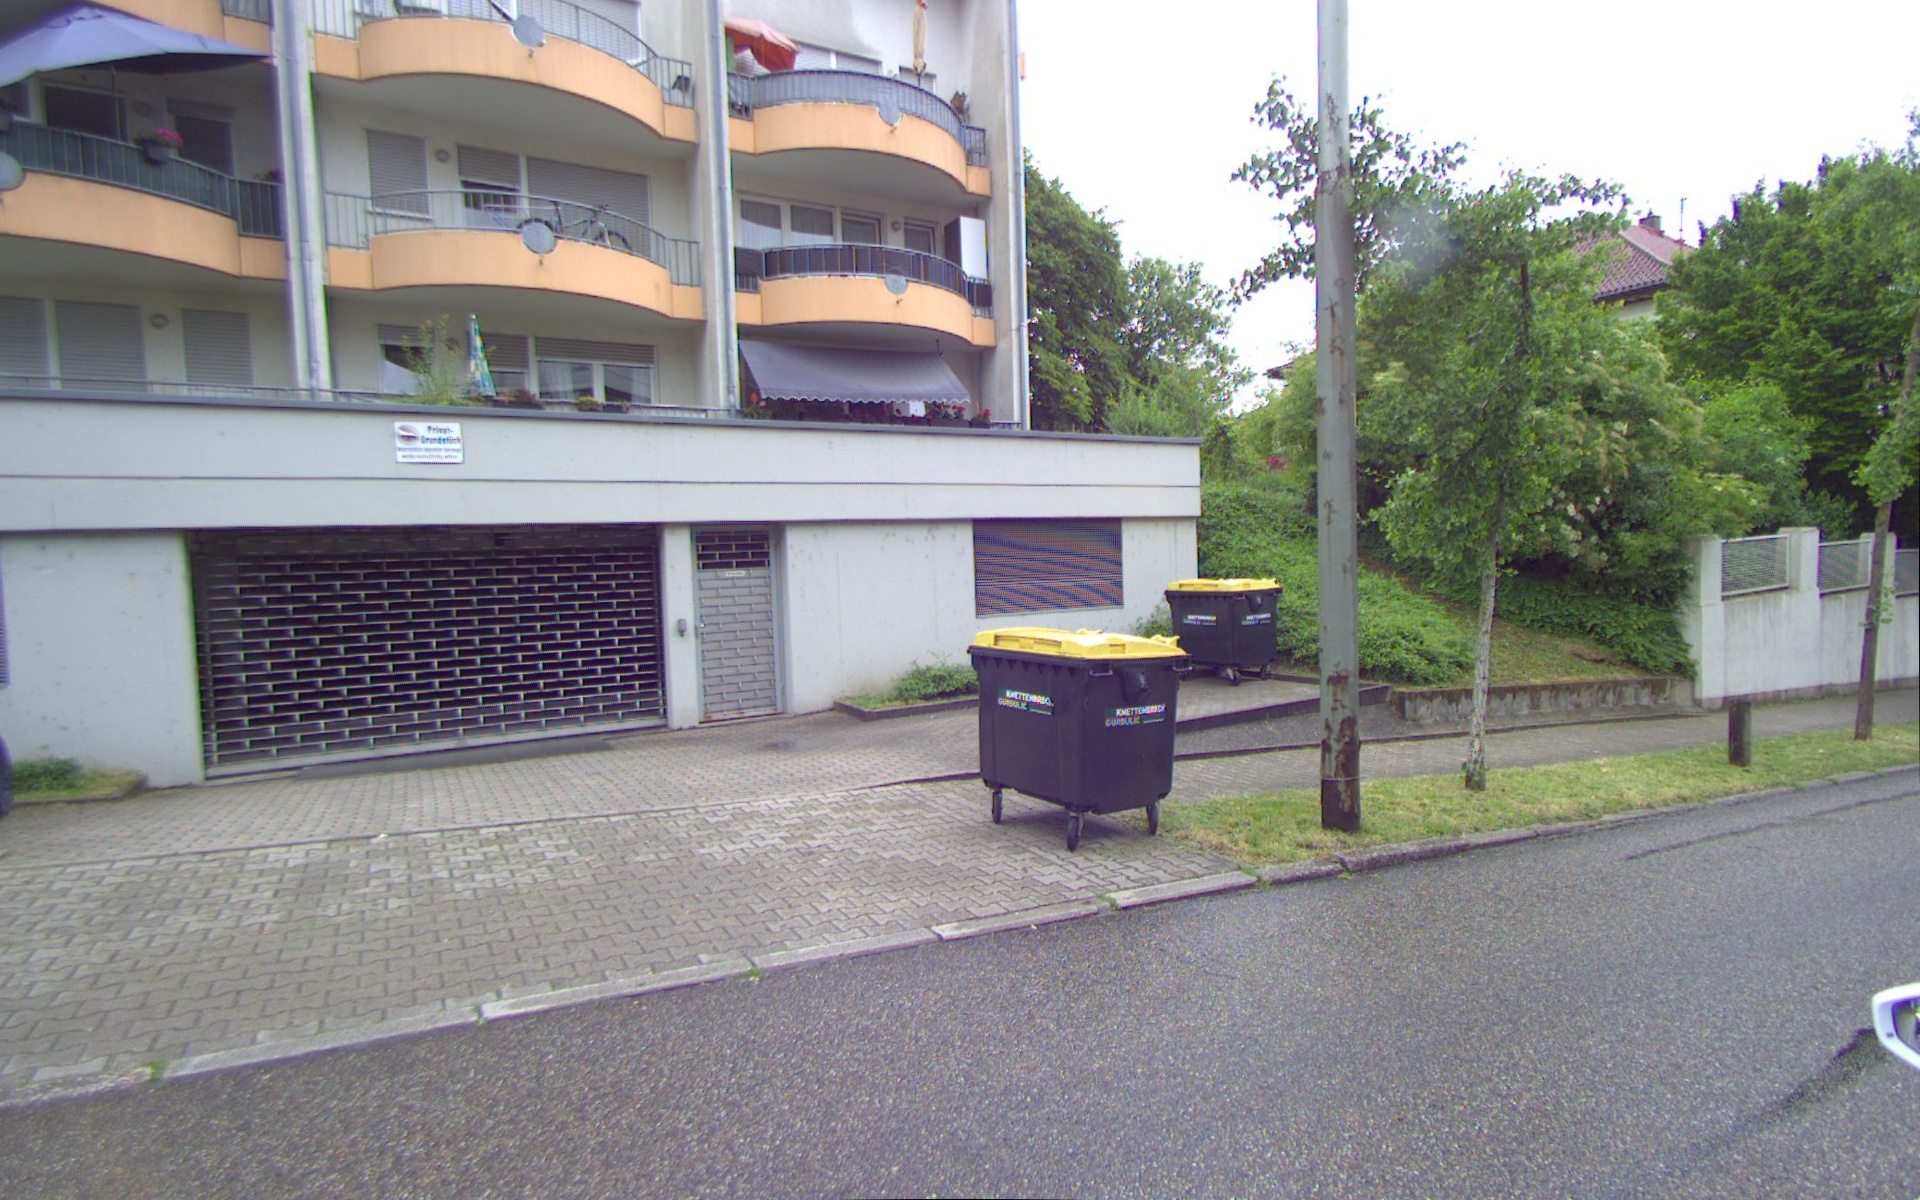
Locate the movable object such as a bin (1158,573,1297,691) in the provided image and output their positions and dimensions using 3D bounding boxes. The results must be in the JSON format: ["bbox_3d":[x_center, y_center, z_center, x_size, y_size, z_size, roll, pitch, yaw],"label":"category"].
[{"bbox_3d":[3.558,0.377,13.405,1.215,1.383,1.289,-7,6,-36],"label":"movable object such as a bin"}]

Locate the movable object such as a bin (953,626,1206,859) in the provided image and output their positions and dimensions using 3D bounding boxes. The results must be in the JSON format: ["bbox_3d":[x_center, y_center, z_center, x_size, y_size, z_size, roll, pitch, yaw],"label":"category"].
[{"bbox_3d":[0.798,0.877,6.884,1.145,1.324,1.288,0,2,-38],"label":"movable object such as a bin"}]

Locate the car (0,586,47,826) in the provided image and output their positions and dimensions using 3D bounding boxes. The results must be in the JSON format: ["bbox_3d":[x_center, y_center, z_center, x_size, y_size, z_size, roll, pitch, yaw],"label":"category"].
[{"bbox_3d":[-8.109,0.677,5.655,4.050,1.582,1.770,1,-4,-31],"label":"car"}]
